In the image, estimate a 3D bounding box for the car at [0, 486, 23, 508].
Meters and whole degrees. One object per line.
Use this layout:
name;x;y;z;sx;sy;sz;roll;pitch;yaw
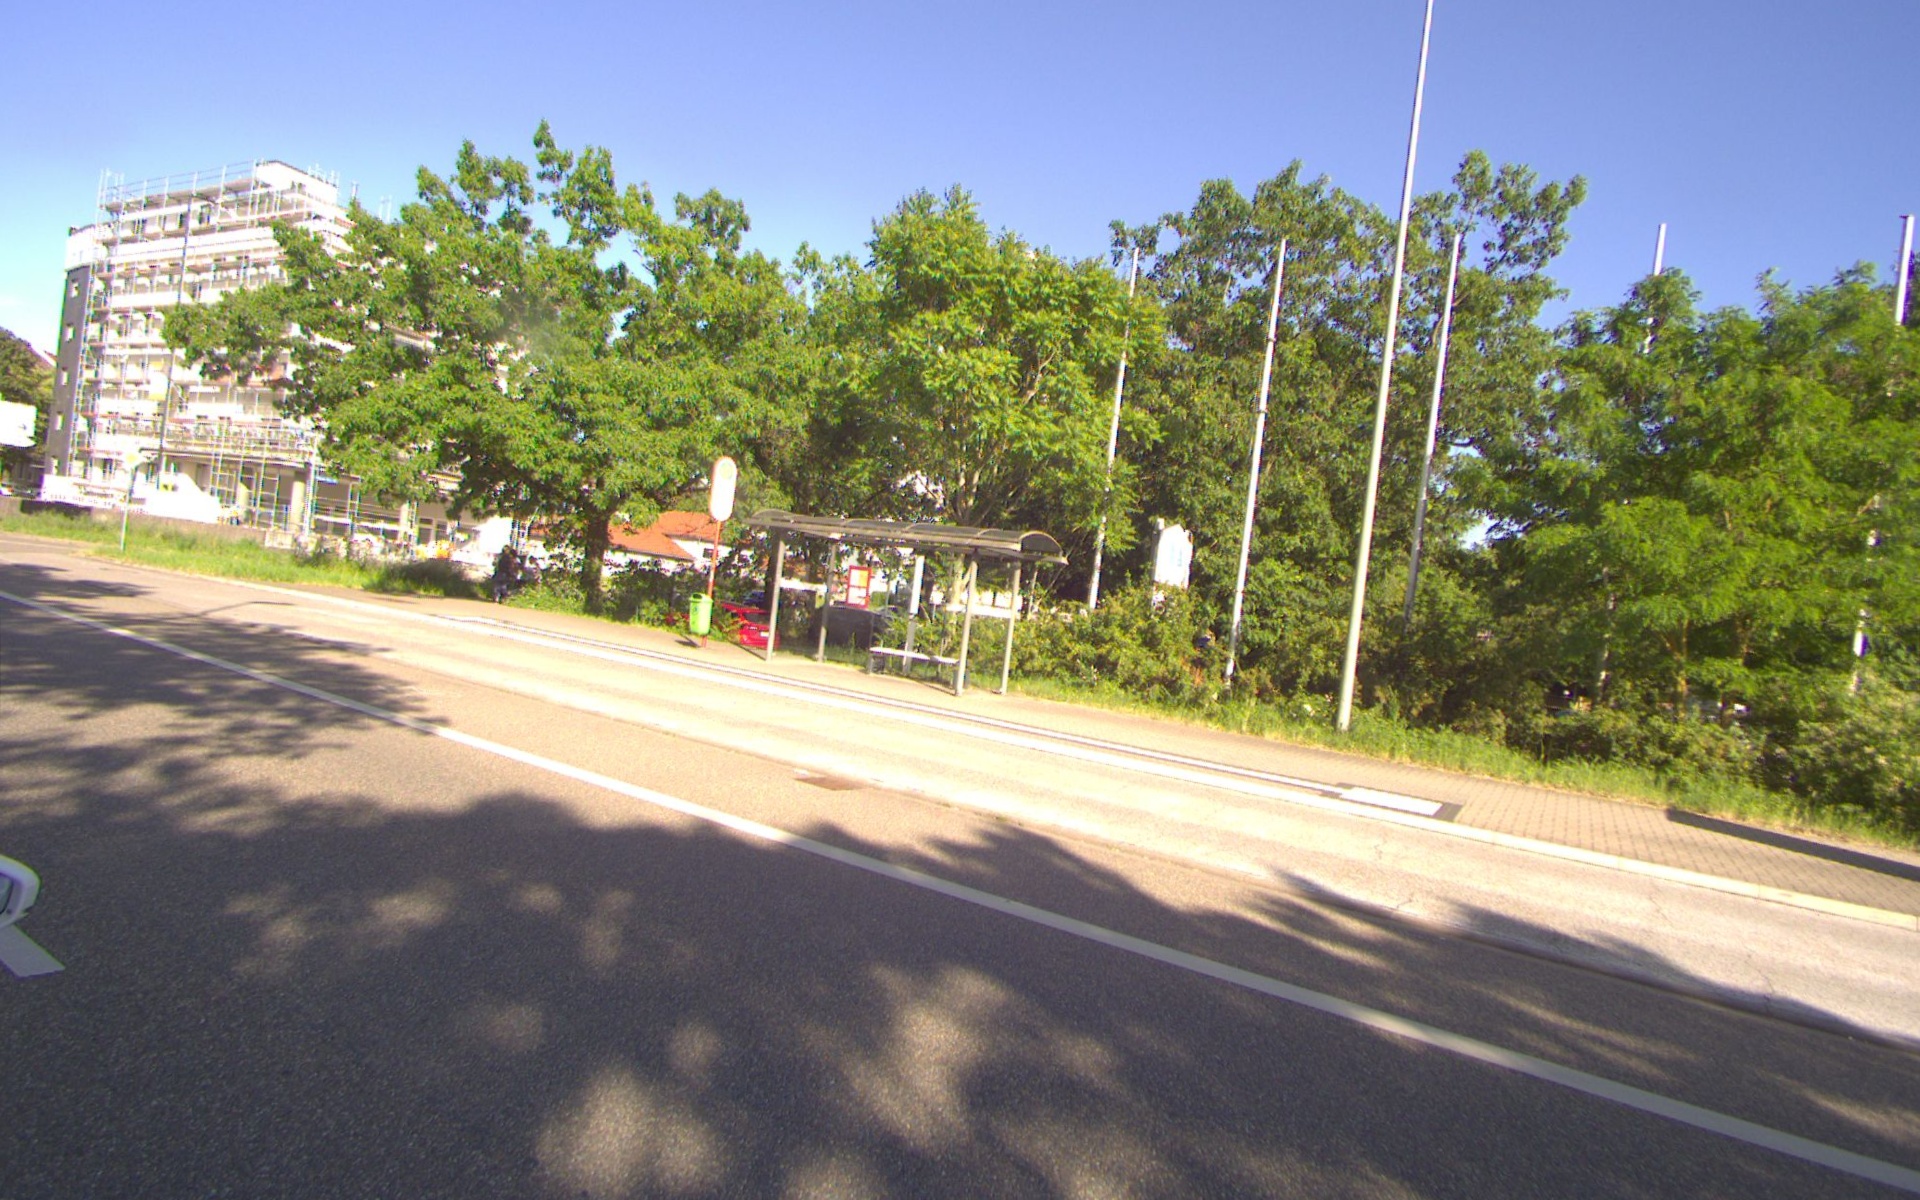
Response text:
car;-66.608;-7.221;70.164;1.521;1.330;3.250;7;0;-40

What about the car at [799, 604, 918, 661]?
car;-3.585;1.171;35.979;3.674;1.504;1.914;7;0;13

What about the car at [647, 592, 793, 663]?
car;-6.874;0.791;28.746;3.680;1.504;1.755;7;0;28

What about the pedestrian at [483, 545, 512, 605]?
pedestrian;-13.051;-0.710;28.373;0.517;1.632;0.587;7;1;-32

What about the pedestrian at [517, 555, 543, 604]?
pedestrian;-13.401;-0.636;31.329;0.517;1.465;0.587;7;1;-32

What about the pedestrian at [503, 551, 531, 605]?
pedestrian;-12.763;-0.635;28.987;0.517;1.465;0.587;7;1;-32

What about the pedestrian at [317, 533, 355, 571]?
pedestrian;-27.298;-2.088;44.004;0.948;1.465;0.895;7;0;17

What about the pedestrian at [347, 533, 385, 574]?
pedestrian;-26.619;-2.087;45.105;0.969;1.674;0.892;7;0;6
